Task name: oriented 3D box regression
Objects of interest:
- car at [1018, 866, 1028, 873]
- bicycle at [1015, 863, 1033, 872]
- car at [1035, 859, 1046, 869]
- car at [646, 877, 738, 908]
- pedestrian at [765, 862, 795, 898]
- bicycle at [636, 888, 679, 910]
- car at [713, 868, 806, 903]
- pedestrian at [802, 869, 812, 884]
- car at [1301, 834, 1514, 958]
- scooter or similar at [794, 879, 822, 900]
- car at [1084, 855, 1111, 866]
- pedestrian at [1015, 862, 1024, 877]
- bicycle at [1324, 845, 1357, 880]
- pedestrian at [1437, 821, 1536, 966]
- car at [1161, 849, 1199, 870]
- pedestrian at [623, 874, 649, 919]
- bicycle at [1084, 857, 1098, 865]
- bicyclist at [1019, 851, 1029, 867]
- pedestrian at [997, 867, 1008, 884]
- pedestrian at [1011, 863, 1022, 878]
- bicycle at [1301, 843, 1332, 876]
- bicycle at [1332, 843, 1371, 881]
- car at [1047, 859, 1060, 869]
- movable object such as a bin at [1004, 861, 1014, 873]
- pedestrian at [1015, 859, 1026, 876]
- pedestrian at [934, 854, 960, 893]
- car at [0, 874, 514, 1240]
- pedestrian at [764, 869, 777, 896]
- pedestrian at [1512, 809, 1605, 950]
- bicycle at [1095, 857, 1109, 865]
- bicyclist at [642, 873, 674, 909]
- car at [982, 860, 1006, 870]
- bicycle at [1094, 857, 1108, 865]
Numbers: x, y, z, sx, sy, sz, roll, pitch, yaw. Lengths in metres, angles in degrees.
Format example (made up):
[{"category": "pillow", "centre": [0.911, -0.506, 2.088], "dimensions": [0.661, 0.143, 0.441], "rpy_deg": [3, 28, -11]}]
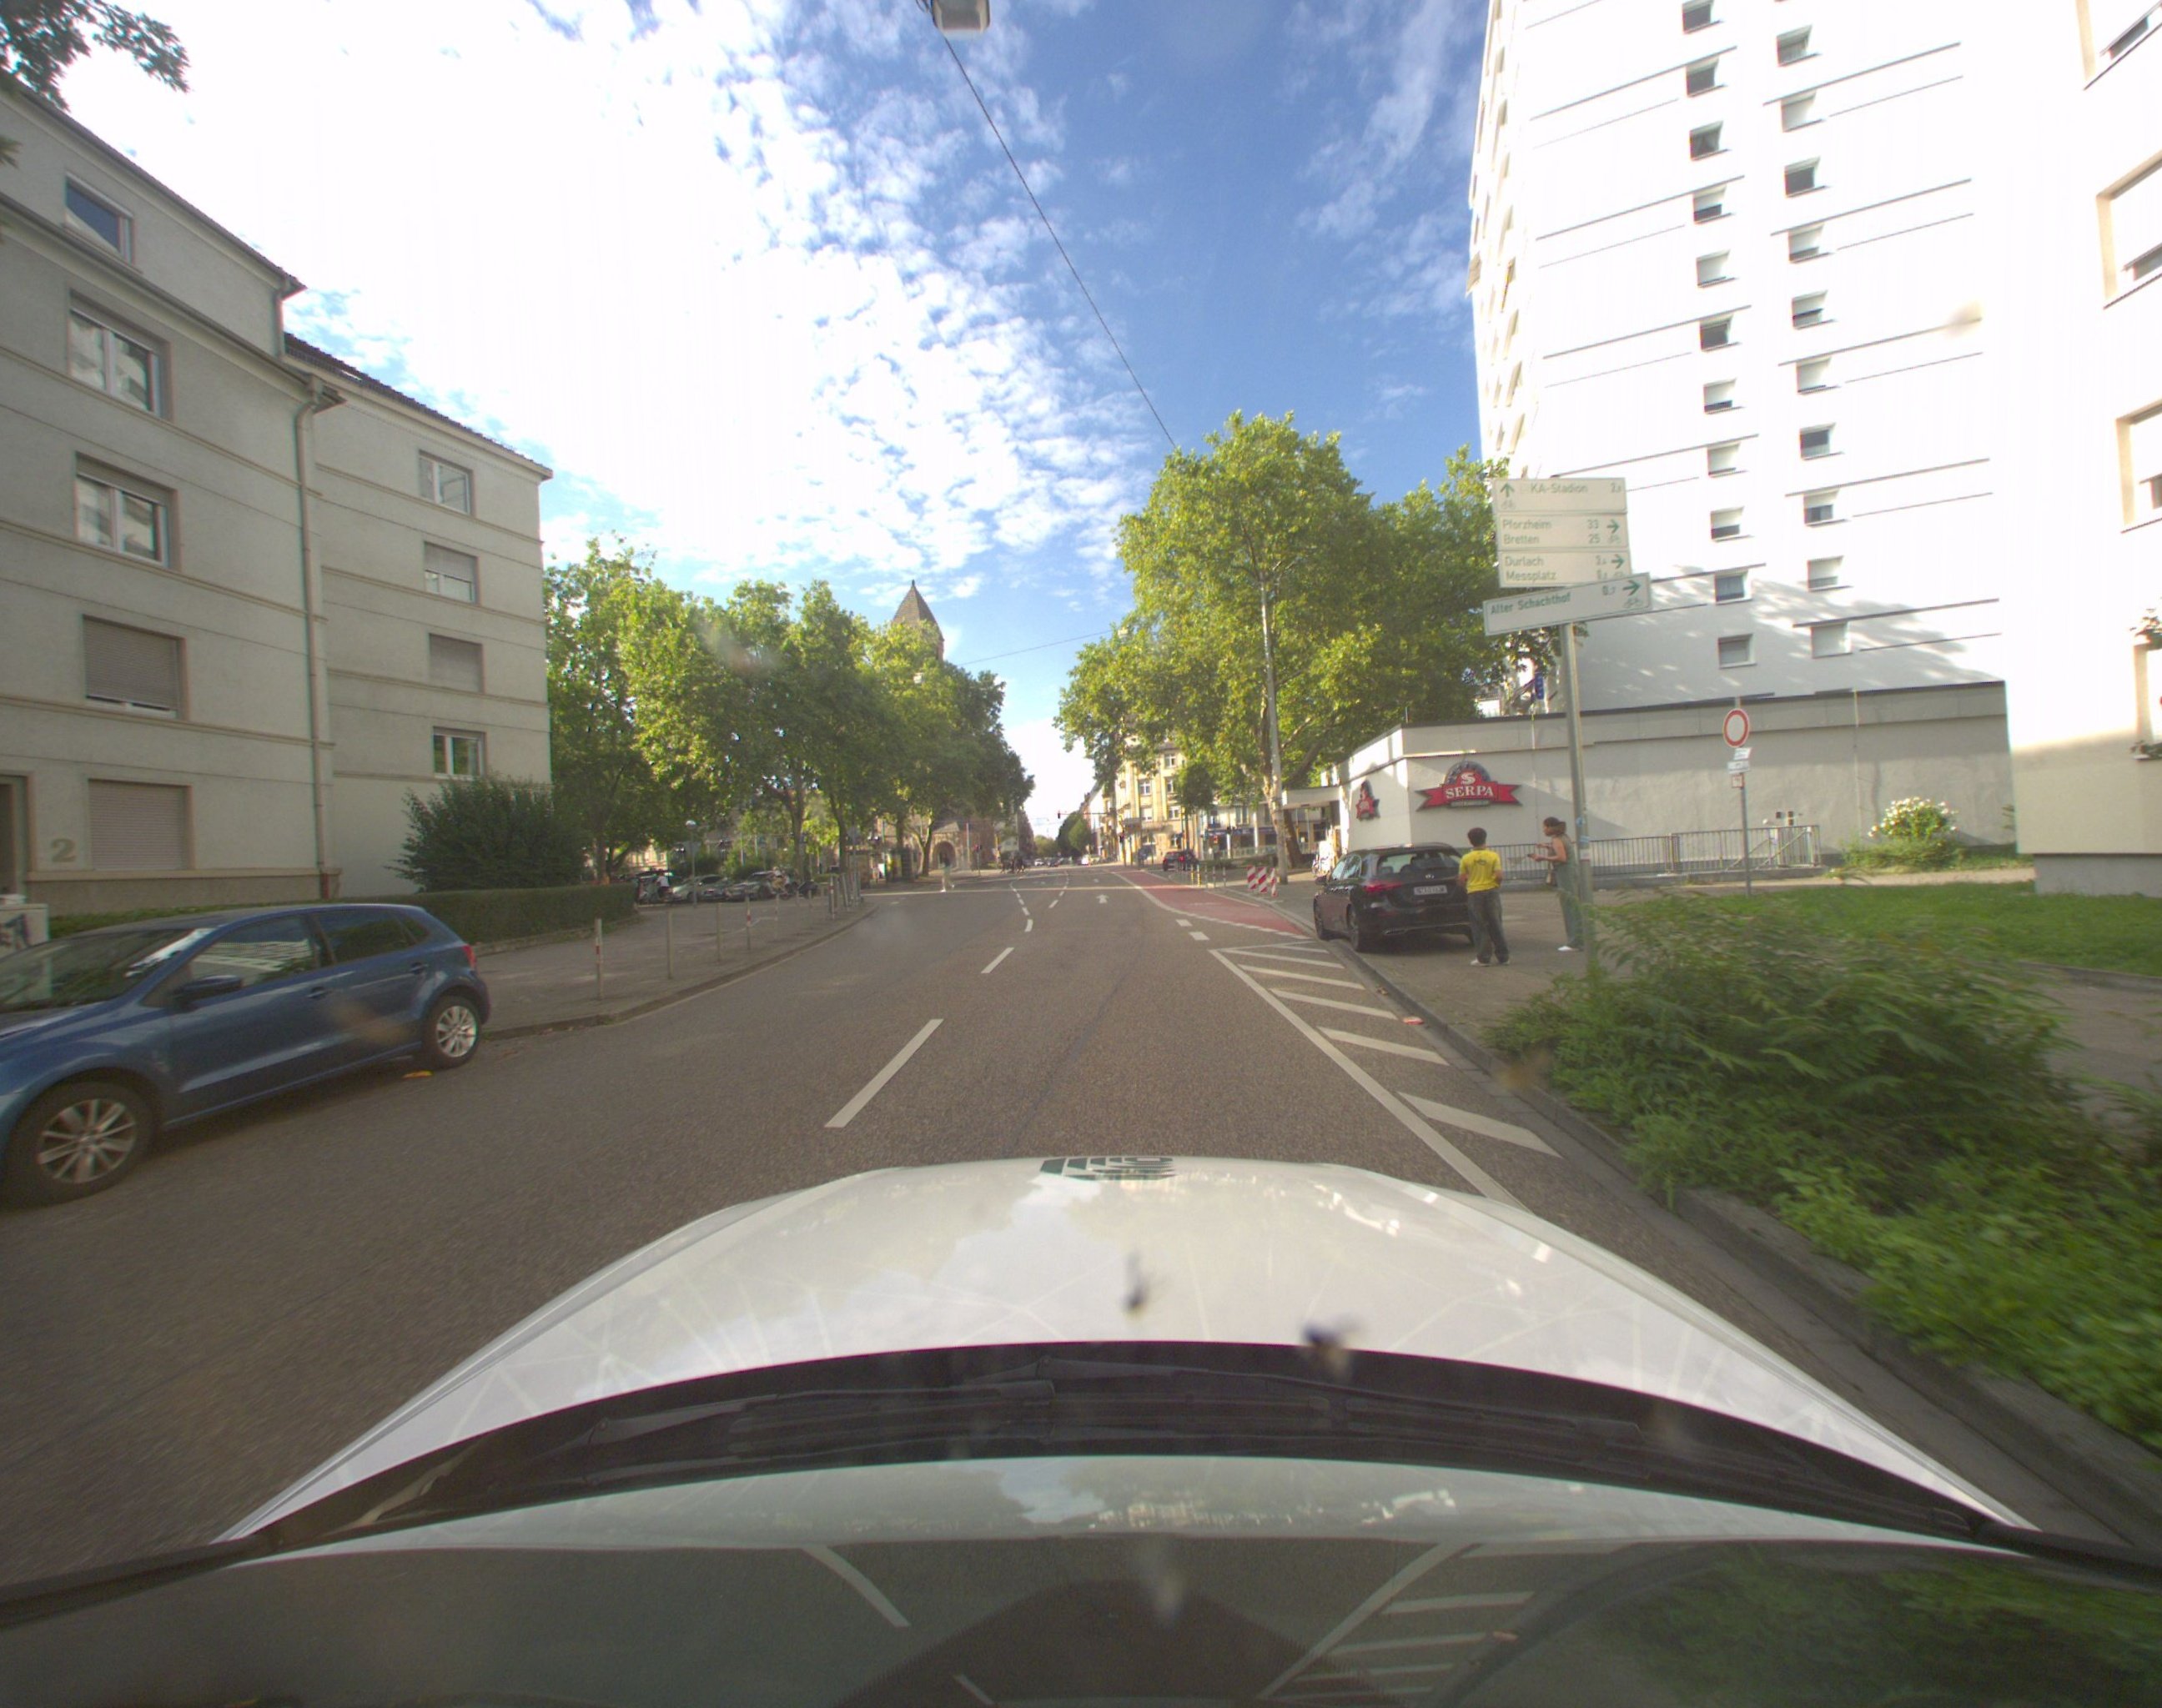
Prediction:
[{"category": "car", "centre": [-11.340, 2.971, 159.760], "dimensions": [1.545, 1.230, 3.588], "rpy_deg": [-2, 0, 1]}, {"category": "bicycle", "centre": [-6.178, 1.464, 87.917], "dimensions": [1.813, 0.955, 0.576], "rpy_deg": [-4, 0, 24]}, {"category": "car", "centre": [-9.506, 2.348, 191.264], "dimensions": [1.986, 2.013, 4.002], "rpy_deg": [-3, 0, 2]}, {"category": "car", "centre": [-21.897, 2.155, 46.059], "dimensions": [1.653, 1.377, 4.863], "rpy_deg": [-4, 0, 20]}, {"category": "pedestrian", "centre": [-14.550, 1.225, 39.334], "dimensions": [1.070, 1.654, 0.815], "rpy_deg": [-3, 0, -3]}, {"category": "bicycle", "centre": [-20.989, 2.230, 40.368], "dimensions": [1.903, 0.994, 0.767], "rpy_deg": [-3, 0, 22]}, {"category": "car", "centre": [-17.434, 1.669, 44.494], "dimensions": [2.218, 1.585, 4.992], "rpy_deg": [-4, 0, 13]}, {"category": "pedestrian", "centre": [-23.590, 1.955, 70.136], "dimensions": [0.725, 1.288, 0.811], "rpy_deg": [-1, -1, -27]}, {"category": "car", "centre": [4.620, 0.518, 12.244], "dimensions": [1.752, 1.411, 4.239], "rpy_deg": [-5, 0, 5]}, {"category": "scooter or similar", "centre": [-13.176, 1.729, 39.344], "dimensions": [1.007, 0.923, 0.808], "rpy_deg": [-3, 0, 0]}, {"category": "car", "centre": [2.568, 1.016, 126.679], "dimensions": [3.981, 1.420, 1.996], "rpy_deg": [-4, 0, -6]}, {"category": "pedestrian", "centre": [-6.282, 1.578, 83.023], "dimensions": [0.649, 1.432, 0.501], "rpy_deg": [-3, 0, 21]}, {"category": "bicycle", "centre": [9.314, 0.288, 29.307], "dimensions": [0.707, 1.206, 1.773], "rpy_deg": [-3, 0, 5]}, {"category": "pedestrian", "centre": [4.610, 0.432, 9.307], "dimensions": [0.650, 1.538, 0.743], "rpy_deg": [-5, 0, 1]}, {"category": "car", "centre": [7.233, 0.380, 59.320], "dimensions": [1.737, 1.413, 4.021], "rpy_deg": [-3, 0, 21]}, {"category": "pedestrian", "centre": [-16.398, 1.561, 30.023], "dimensions": [0.737, 1.578, 0.725], "rpy_deg": [-3, 0, -32]}, {"category": "bicycle", "centre": [1.586, 1.100, 124.257], "dimensions": [2.024, 1.082, 0.618], "rpy_deg": [-4, 0, -12]}, {"category": "bicyclist", "centre": [-6.179, 0.545, 87.926], "dimensions": [0.771, 1.579, 0.629], "rpy_deg": [-4, 0, 24]}, {"category": "pedestrian", "centre": [-8.128, 2.214, 83.957], "dimensions": [0.807, 1.629, 0.608], "rpy_deg": [-5, 0, 22]}, {"category": "pedestrian", "centre": [-6.573, 1.649, 82.477], "dimensions": [0.774, 1.432, 0.735], "rpy_deg": [-3, 0, 23]}, {"category": "bicycle", "centre": [9.558, 0.233, 33.116], "dimensions": [0.709, 1.206, 1.817], "rpy_deg": [-7, -1, 3]}, {"category": "bicycle", "centre": [9.113, 0.255, 27.489], "dimensions": [0.765, 1.206, 1.818], "rpy_deg": [-5, 0, 5]}, {"category": "car", "centre": [-4.496, 1.625, 134.300], "dimensions": [1.944, 1.372, 3.997], "rpy_deg": [-3, 0, -2]}, {"category": "movable object such as a bin", "centre": [-7.419, 1.341, 83.659], "dimensions": [0.830, 1.123, 0.578], "rpy_deg": [-3, 0, 21]}, {"category": "pedestrian", "centre": [-6.214, 1.396, 83.941], "dimensions": [0.774, 1.662, 0.783], "rpy_deg": [-3, 0, 21]}, {"category": "pedestrian", "centre": [-6.302, 0.915, 38.295], "dimensions": [1.076, 1.753, 0.914], "rpy_deg": [-2, 0, -15]}, {"category": "car", "centre": [-5.972, 1.073, 5.262], "dimensions": [1.793, 1.620, 3.803], "rpy_deg": [-6, 0, 0]}, {"category": "pedestrian", "centre": [-20.402, 1.868, 53.580], "dimensions": [0.499, 1.715, 0.706], "rpy_deg": [-4, 0, -1]}, {"category": "pedestrian", "centre": [5.860, 0.297, 10.029], "dimensions": [0.650, 1.645, 0.743], "rpy_deg": [-3, 0, 1]}, {"category": "bicycle", "centre": [3.178, 1.023, 124.339], "dimensions": [2.024, 1.082, 0.618], "rpy_deg": [-4, 0, -12]}, {"category": "bicyclist", "centre": [-20.979, 1.813, 40.381], "dimensions": [1.100, 1.691, 0.819], "rpy_deg": [-3, 0, 22]}, {"category": "car", "centre": [-15.970, 2.056, 150.145], "dimensions": [4.022, 1.596, 1.847], "rpy_deg": [-4, 0, -41]}, {"category": "bicycle", "centre": [3.013, 1.036, 124.965], "dimensions": [2.024, 1.082, 0.628], "rpy_deg": [-4, 0, -12]}]
